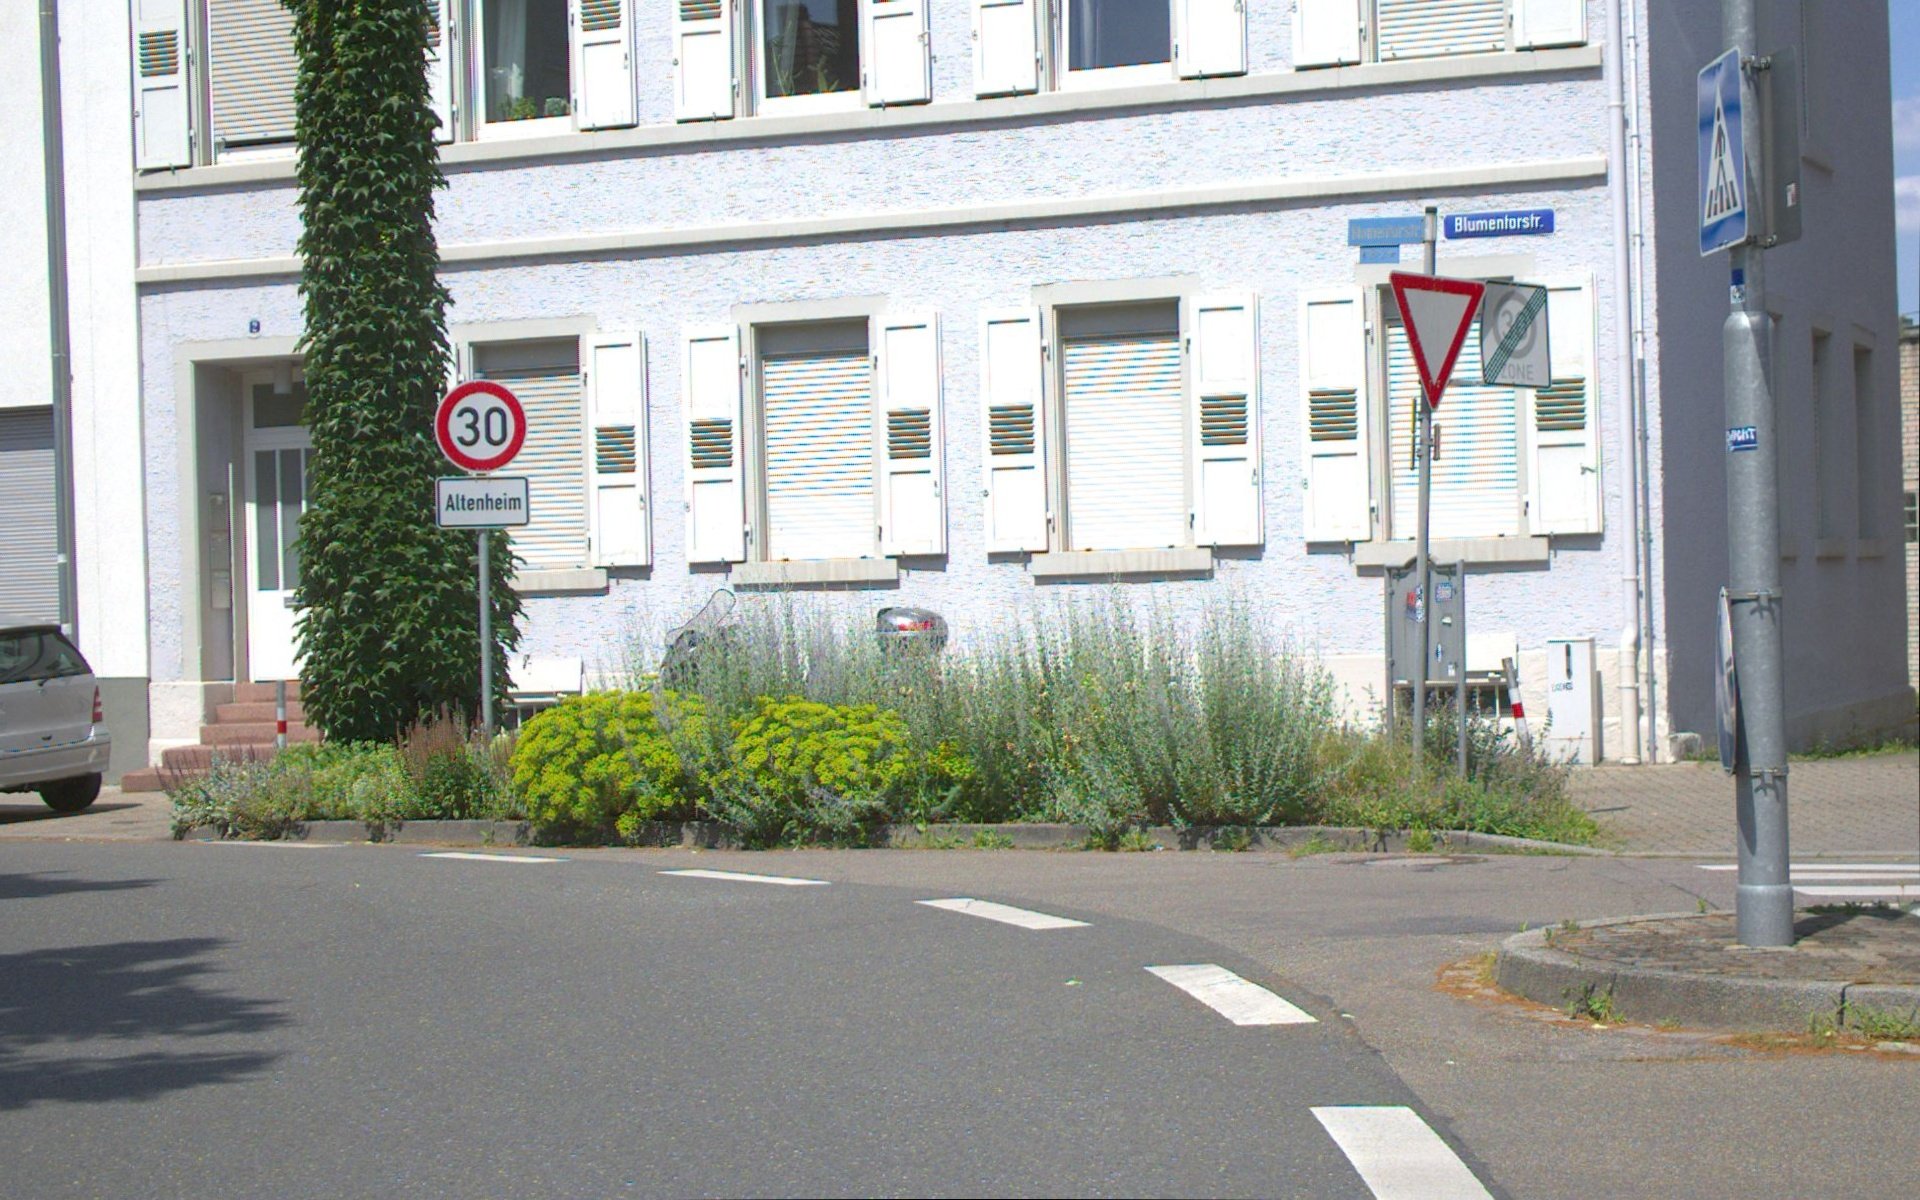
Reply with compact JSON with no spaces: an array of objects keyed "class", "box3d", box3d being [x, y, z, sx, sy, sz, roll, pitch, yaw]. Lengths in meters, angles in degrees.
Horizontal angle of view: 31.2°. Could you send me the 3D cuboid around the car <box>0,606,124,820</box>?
[{"class":"car","box3d":[-8.424,0.864,26.775,3.612,1.581,1.581,-1,-2,30]}]
